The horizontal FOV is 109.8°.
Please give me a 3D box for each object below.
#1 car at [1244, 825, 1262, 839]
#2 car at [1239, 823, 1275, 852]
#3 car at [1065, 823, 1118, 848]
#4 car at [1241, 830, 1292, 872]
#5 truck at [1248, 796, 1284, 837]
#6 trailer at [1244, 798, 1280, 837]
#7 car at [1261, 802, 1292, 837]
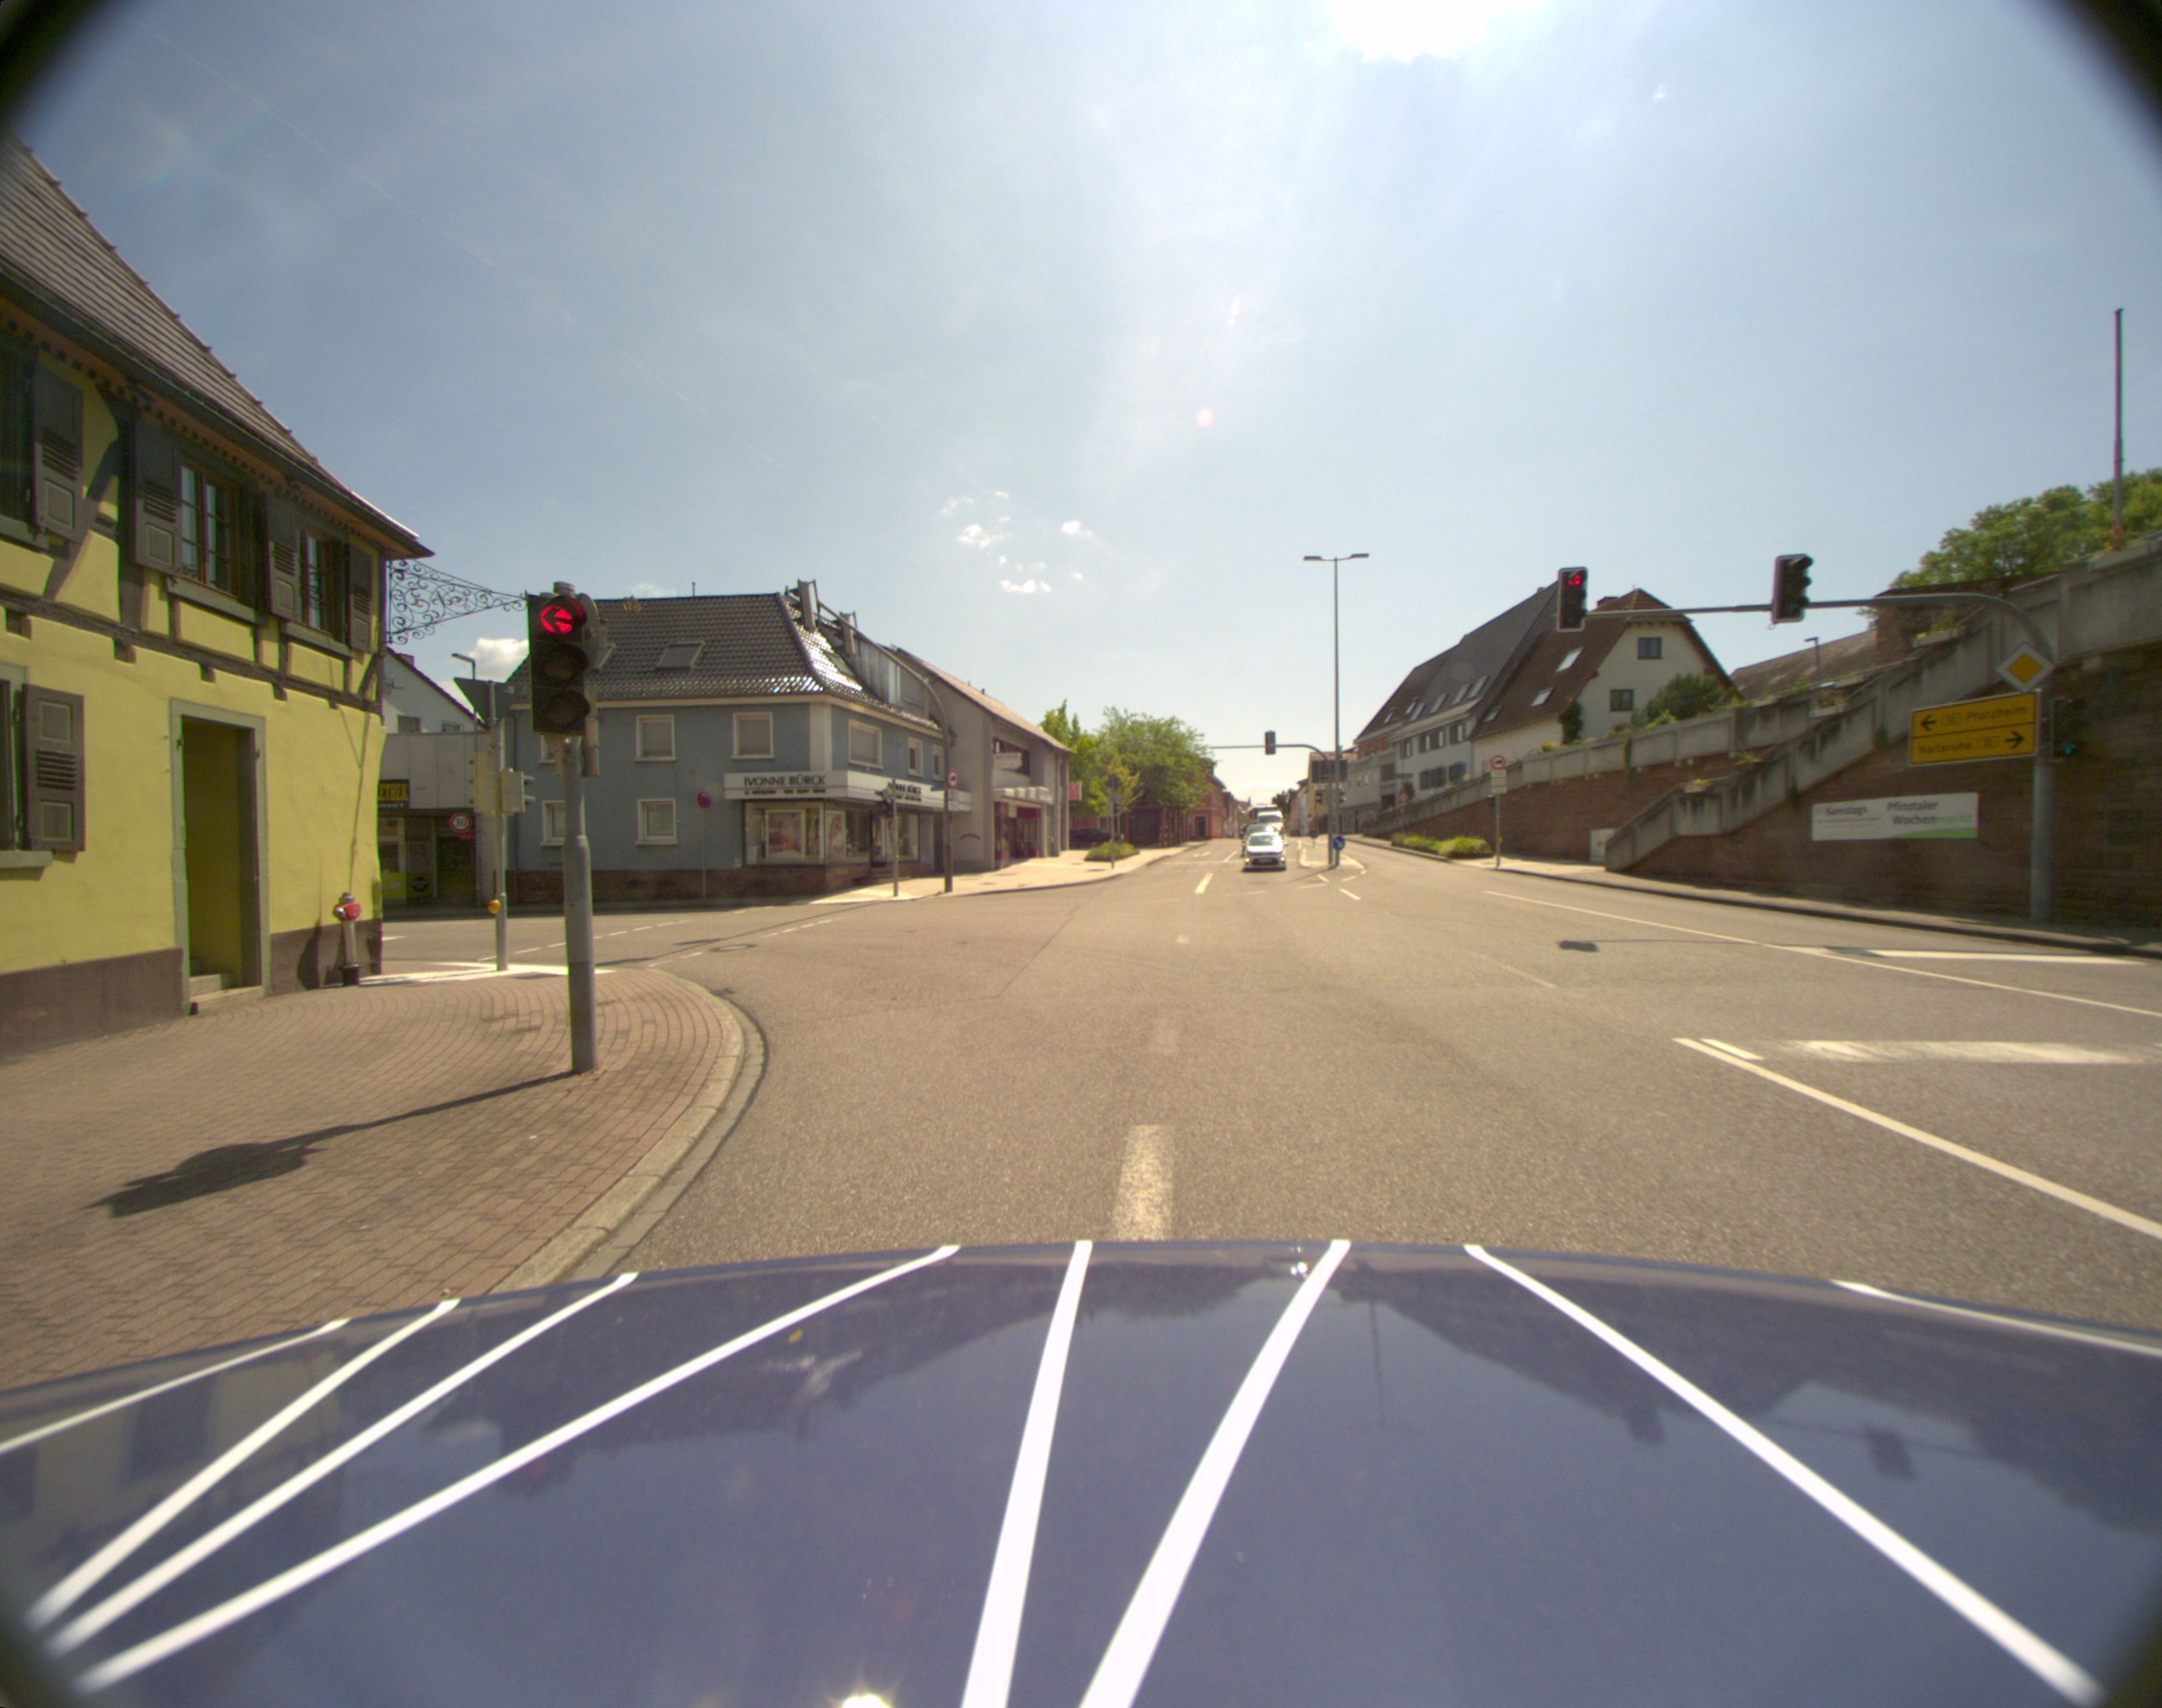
[{"bbox_3d":[21.724,-2.791,95.961,2.010,1.621,4.580,-1,1,10],"label":"car"},{"bbox_3d":[10.022,-0.949,43.168,1.722,1.542,4.307,-2,1,16],"label":"car"},{"bbox_3d":[0.822,-1.368,57.154,3.758,1.701,1.725,-2,2,7],"label":"car"},{"bbox_3d":[7.479,-0.173,31.005,1.723,1.542,4.305,-2,1,10],"label":"car"},{"bbox_3d":[17.140,-3.415,70.698,2.846,3.550,5.472,-1,1,10],"label":"truck"},{"bbox_3d":[18.244,-3.564,77.153,2.835,3.550,10.971,-1,1,9],"label":"trailer"},{"bbox_3d":[15.240,-2.624,59.480,2.173,2.549,4.828,-1,1,13],"label":"car"}]
